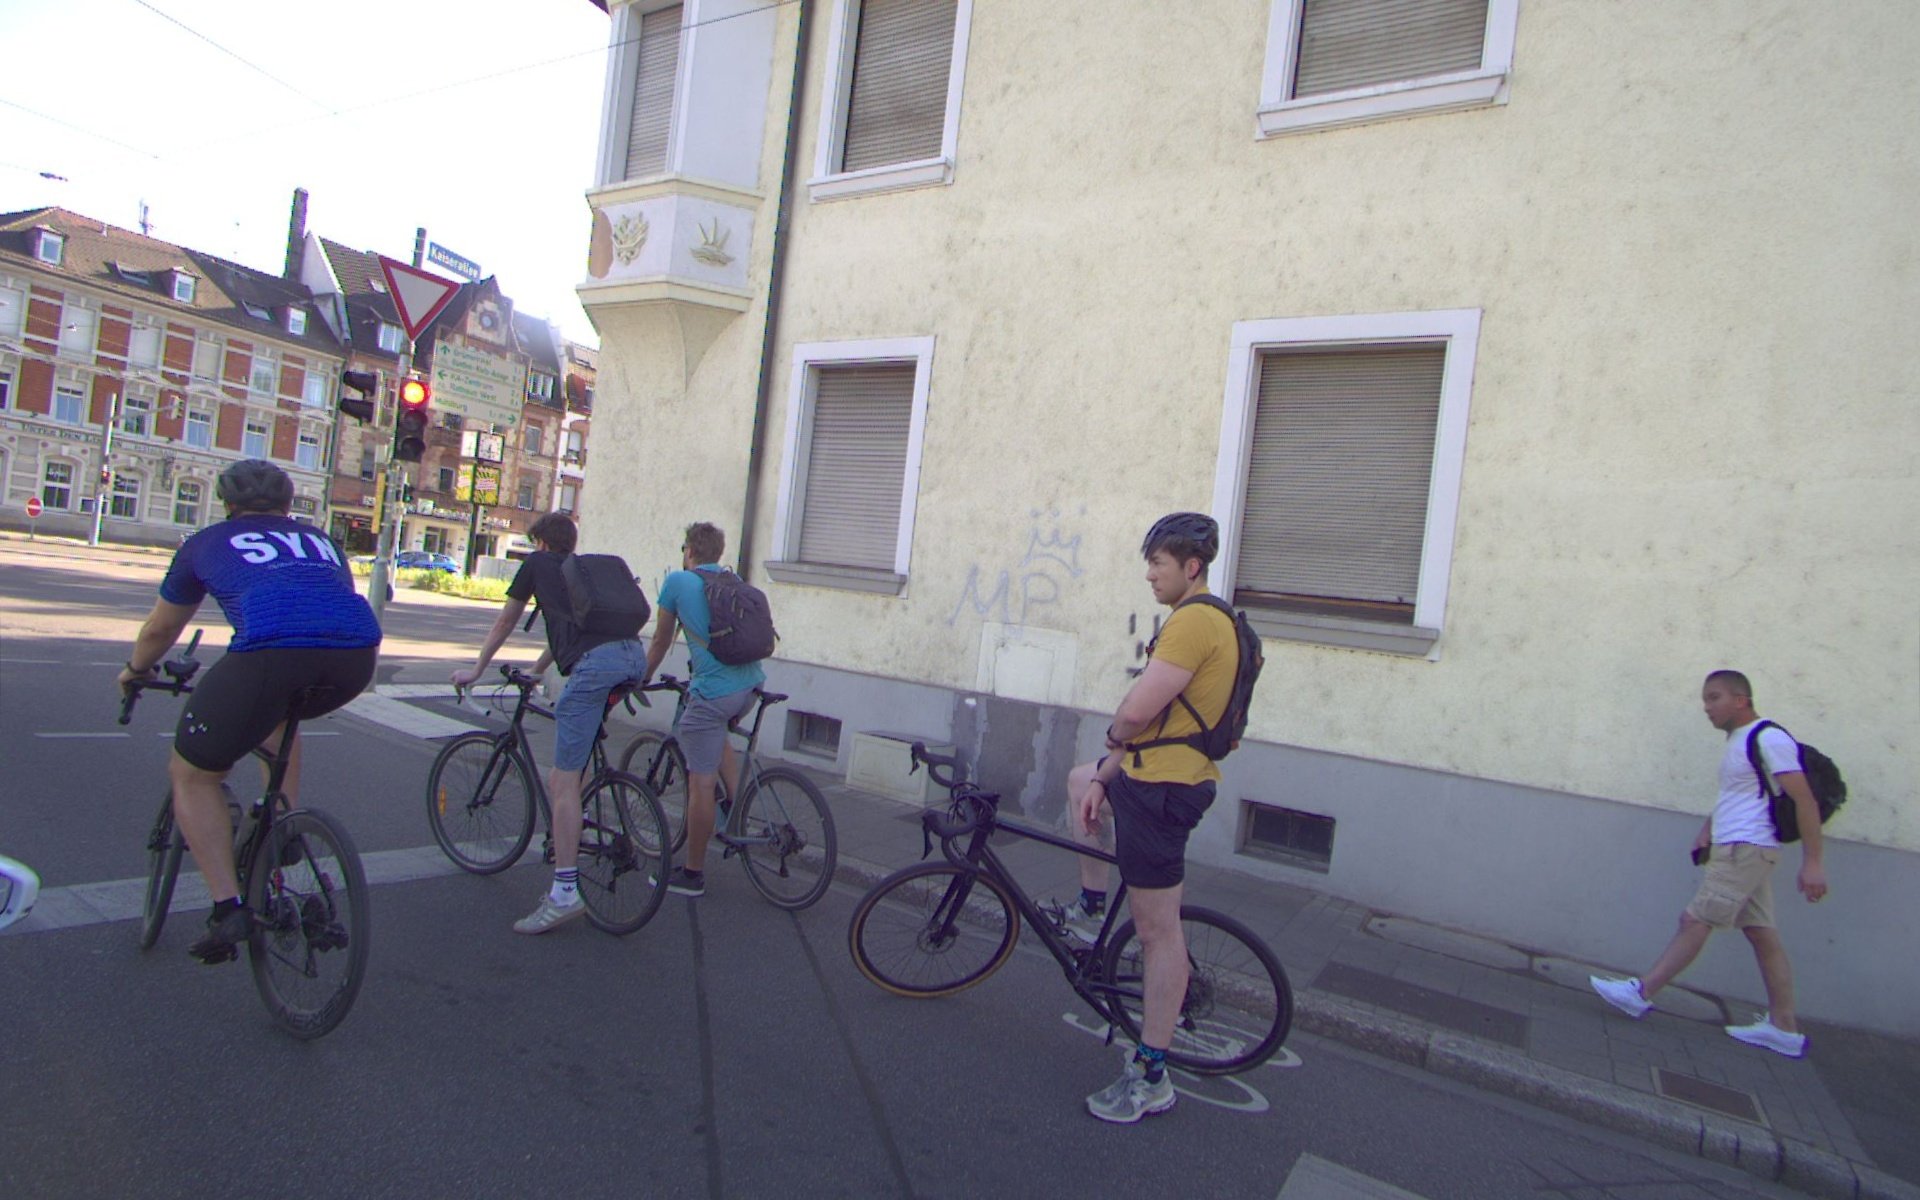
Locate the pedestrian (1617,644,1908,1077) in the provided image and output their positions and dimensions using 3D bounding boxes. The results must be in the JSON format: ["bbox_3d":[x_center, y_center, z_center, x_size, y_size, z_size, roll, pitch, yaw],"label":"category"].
[{"bbox_3d":[3.576,1.131,4.536,0.631,1.780,0.584,4,3,-7],"label":"pedestrian"}]

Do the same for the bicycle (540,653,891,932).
[{"bbox_3d":[-1.305,0.918,5.244,1.742,1.043,0.650,6,-1,33],"label":"bicycle"}]

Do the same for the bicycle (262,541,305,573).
[{"bbox_3d":[-32.677,-2.087,48.579,2.618,1.301,0.629,6,-1,33],"label":"bicycle"}]

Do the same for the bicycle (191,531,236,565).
[{"bbox_3d":[-34.198,-2.372,46.064,2.618,1.301,0.693,6,-1,33],"label":"bicycle"}]

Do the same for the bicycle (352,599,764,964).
[{"bbox_3d":[-1.861,0.730,4.609,1.674,1.251,0.756,6,-1,30],"label":"bicycle"}]

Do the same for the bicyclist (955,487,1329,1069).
[{"bbox_3d":[0.659,0.531,3.513,0.869,1.682,0.807,6,-1,32],"label":"bicyclist"}]

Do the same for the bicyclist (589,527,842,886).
[{"bbox_3d":[-1.269,0.516,5.253,0.869,1.652,0.690,6,-1,34],"label":"bicyclist"}]

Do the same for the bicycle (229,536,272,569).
[{"bbox_3d":[-33.414,-2.227,47.360,2.618,1.301,0.629,6,-1,33],"label":"bicycle"}]

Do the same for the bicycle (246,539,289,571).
[{"bbox_3d":[-33.046,-2.166,47.990,2.618,1.301,0.629,6,-1,33],"label":"bicycle"}]

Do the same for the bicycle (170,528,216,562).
[{"bbox_3d":[-34.604,-2.483,45.377,2.618,1.301,0.693,6,-1,33],"label":"bicycle"}]

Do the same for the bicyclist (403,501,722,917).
[{"bbox_3d":[-1.784,0.450,4.568,0.868,1.625,0.807,6,-1,30],"label":"bicyclist"}]

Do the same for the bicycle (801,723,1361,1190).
[{"bbox_3d":[0.395,1.100,3.628,1.751,1.043,0.756,6,-2,33],"label":"bicycle"}]

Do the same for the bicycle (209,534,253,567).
[{"bbox_3d":[-33.832,-2.298,46.688,2.618,1.301,0.629,6,-1,33],"label":"bicycle"}]

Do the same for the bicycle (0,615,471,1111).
[{"bbox_3d":[-2.416,0.703,3.280,1.676,1.097,0.627,6,-1,35],"label":"bicycle"}]

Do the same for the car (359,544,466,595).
[{"bbox_3d":[-25.468,-1.399,46.903,1.967,1.798,3.790,6,-2,31],"label":"car"}]

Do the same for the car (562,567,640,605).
[{"bbox_3d":[-23.242,-0.881,65.283,1.967,1.798,4.374,6,-2,31],"label":"car"}]

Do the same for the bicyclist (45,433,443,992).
[{"bbox_3d":[-2.301,0.296,3.234,0.869,1.512,0.639,9,0,36],"label":"bicyclist"}]
